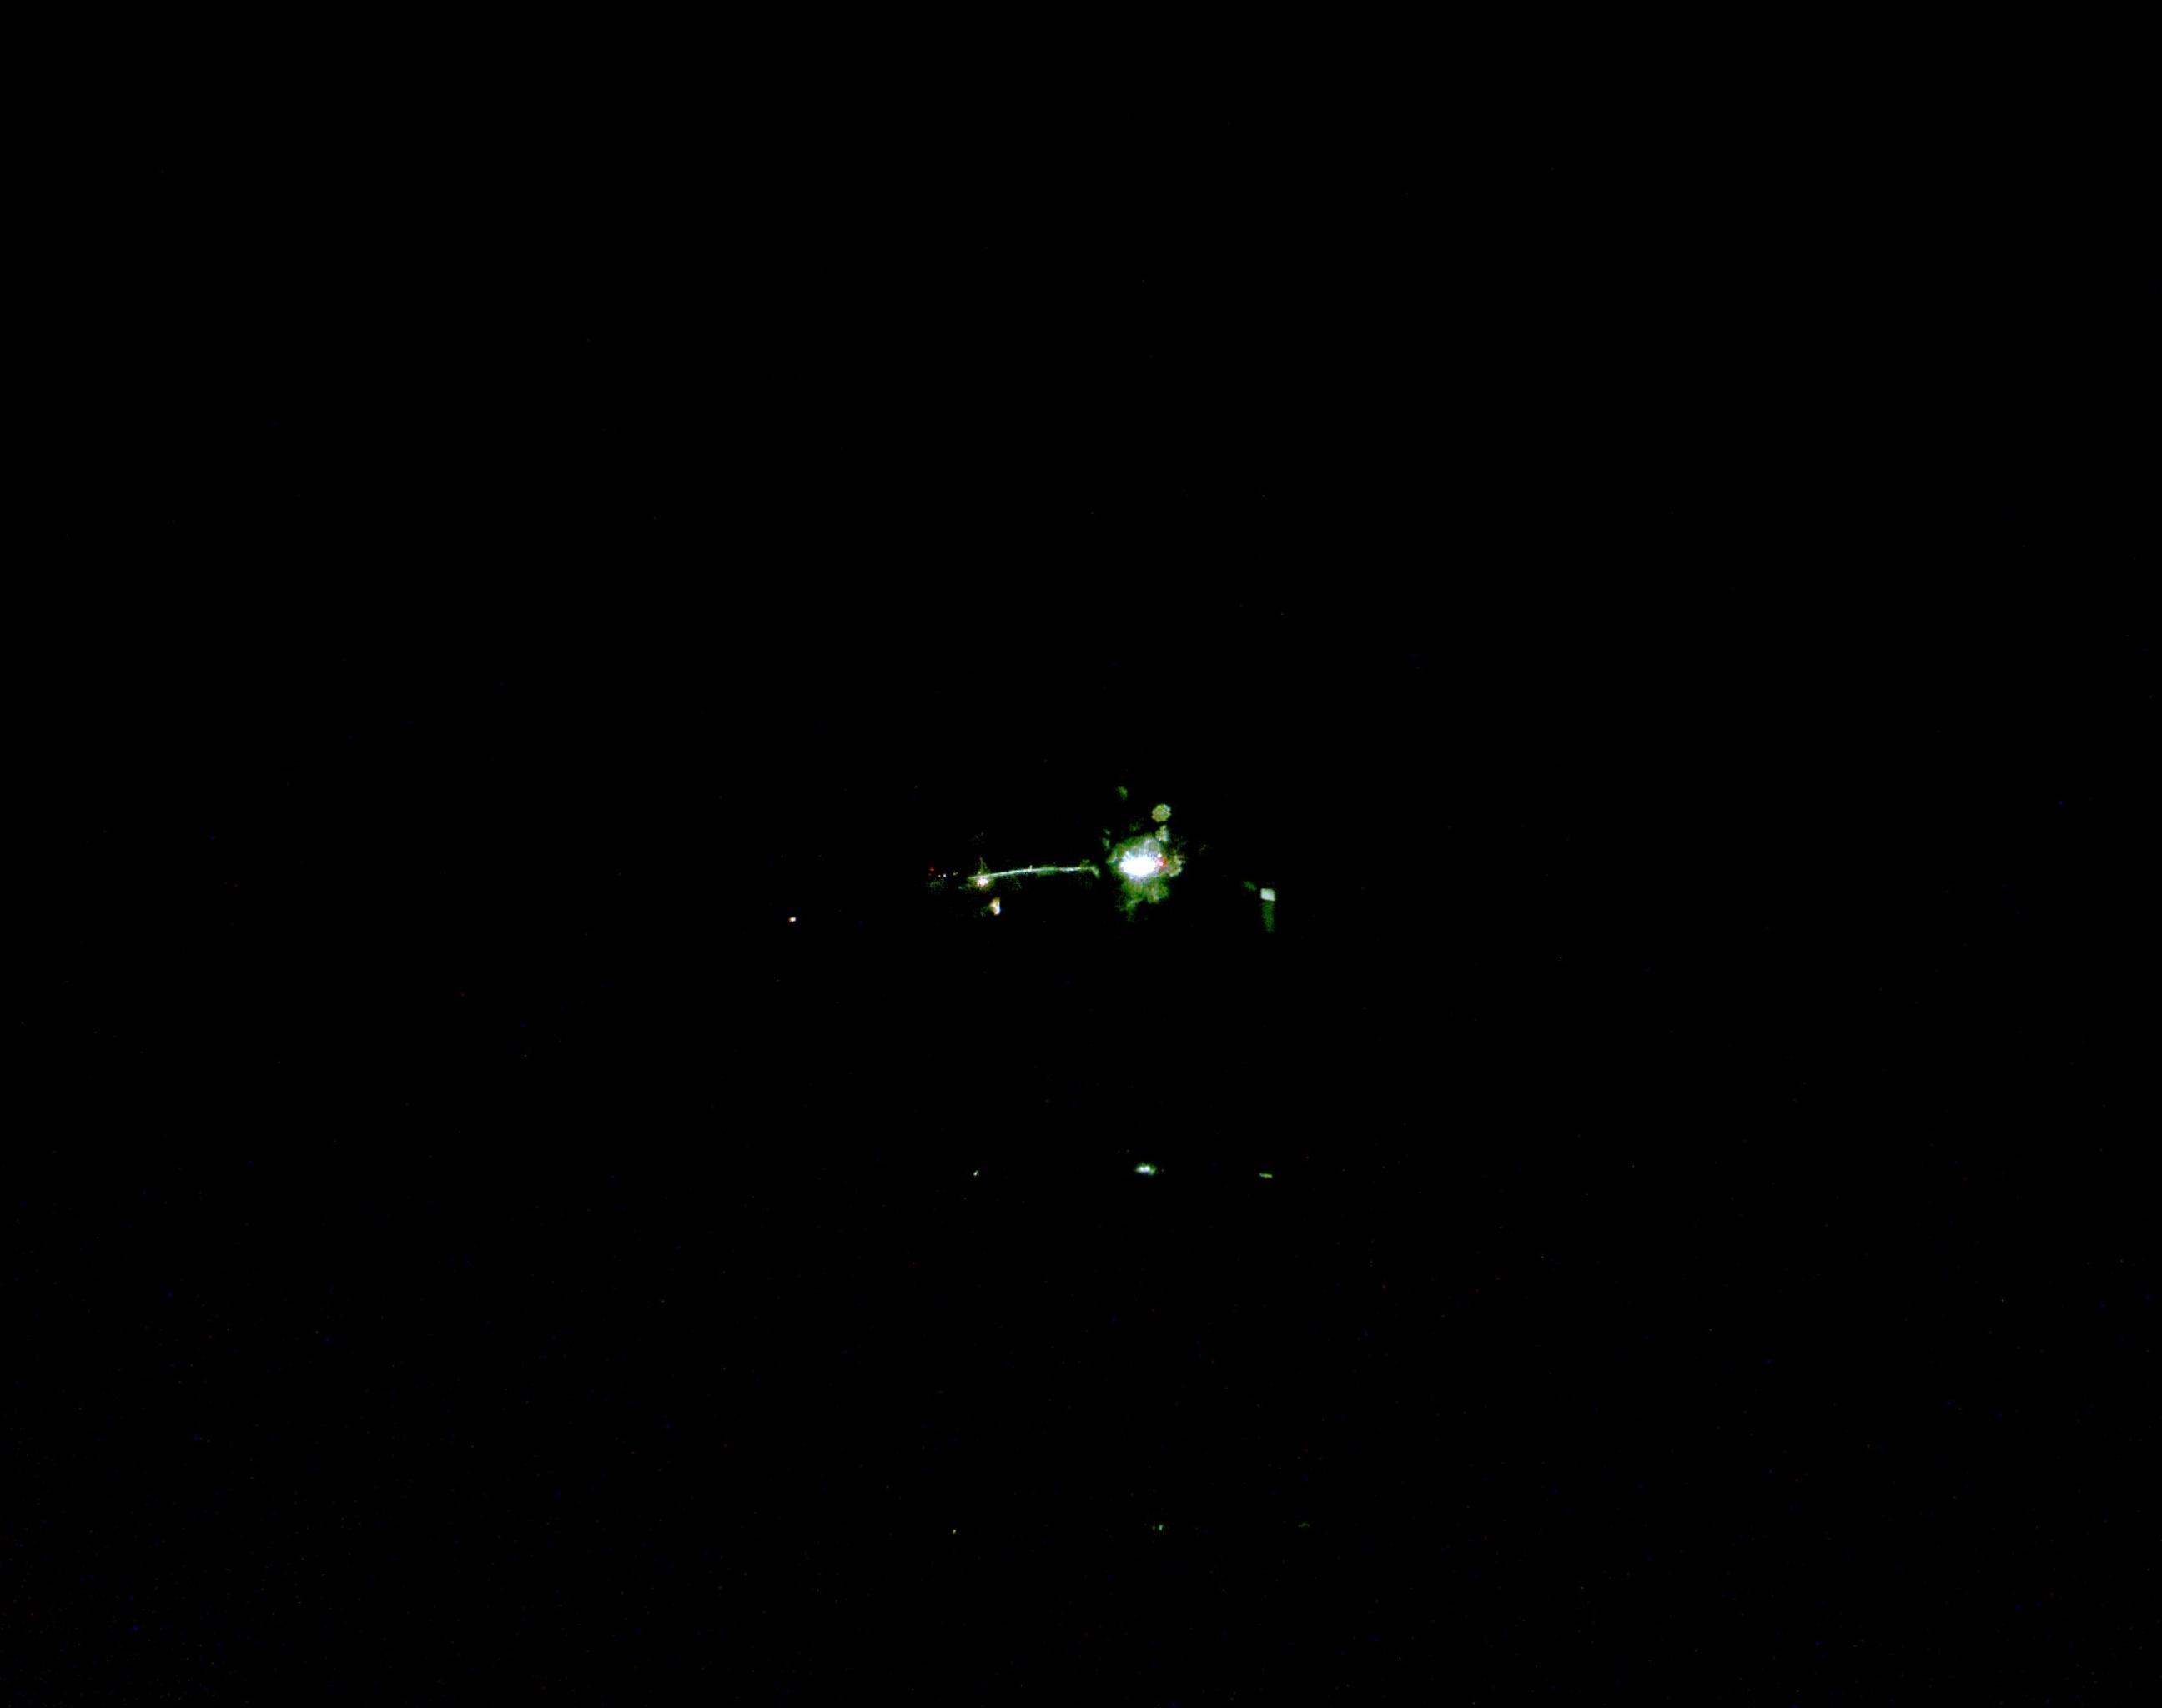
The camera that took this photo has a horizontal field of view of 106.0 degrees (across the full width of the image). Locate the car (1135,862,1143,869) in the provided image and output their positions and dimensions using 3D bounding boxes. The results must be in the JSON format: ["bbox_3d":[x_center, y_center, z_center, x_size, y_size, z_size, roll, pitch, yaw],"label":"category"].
[{"bbox_3d":[13.511,2.676,188.891,1.731,1.402,3.867,-1,-1,6],"label":"car"}]

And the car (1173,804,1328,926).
[{"bbox_3d":[3.035,0.284,15.549,2.189,2.014,4.208,0,-3,2],"label":"car"}]
